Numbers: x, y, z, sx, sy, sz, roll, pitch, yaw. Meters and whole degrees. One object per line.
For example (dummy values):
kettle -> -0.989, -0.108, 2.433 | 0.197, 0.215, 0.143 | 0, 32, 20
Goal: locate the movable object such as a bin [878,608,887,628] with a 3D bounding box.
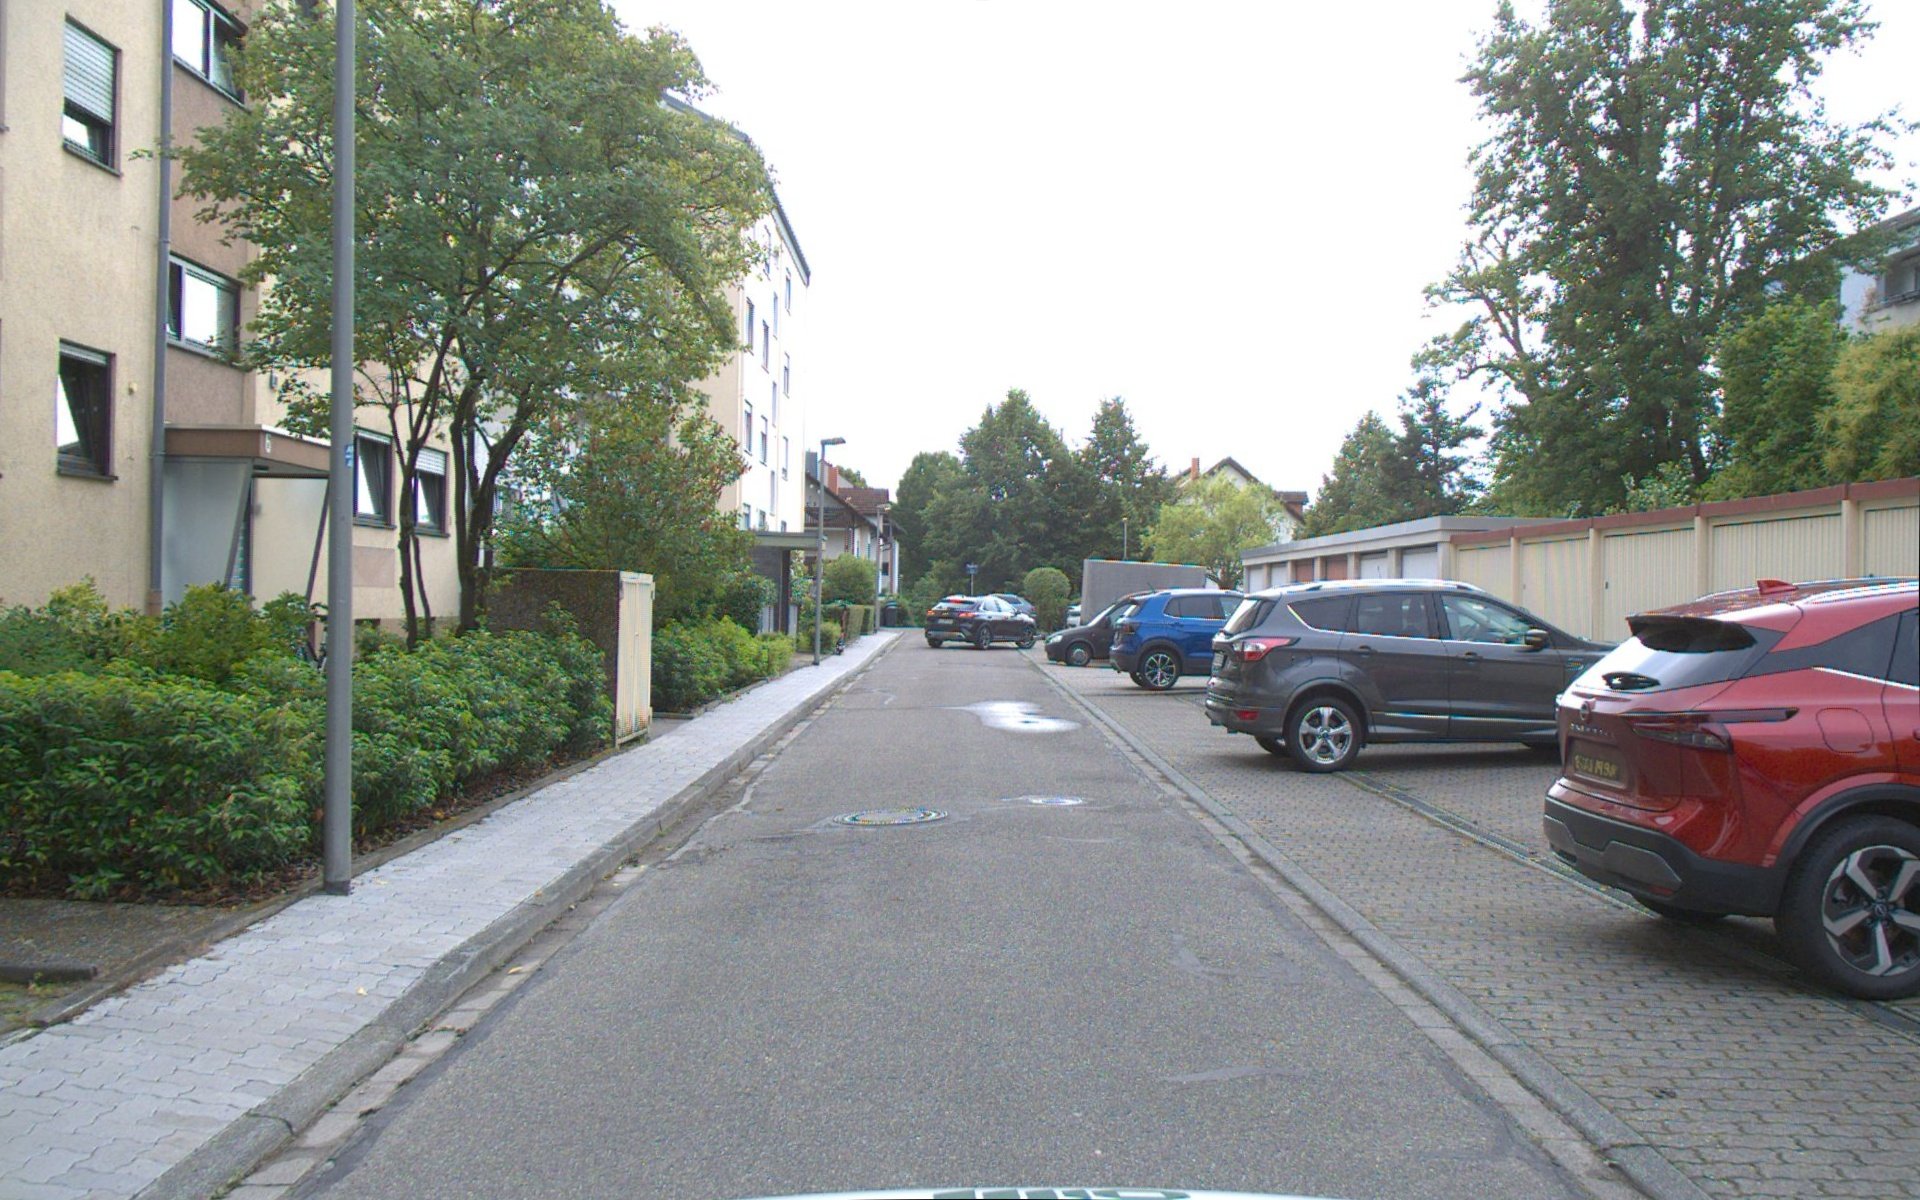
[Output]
movable object such as a bin -> -3.695, 0.855, 79.107 | 0.378, 0.905, 0.379 | 2, 0, -3

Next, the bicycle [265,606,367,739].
bicycle -> -5.771, 0.620, 14.891 | 0.308, 1.070, 1.691 | 0, 2, -2

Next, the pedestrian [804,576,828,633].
pedestrian -> -4.596, 0.136, 52.898 | 0.665, 1.779, 0.756 | 2, 0, -3

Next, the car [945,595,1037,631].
car -> 1.396, 0.604, 75.669 | 4.151, 1.558, 1.747 | 1, -2, -1

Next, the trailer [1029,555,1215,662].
trailer -> 4.064, 0.206, 42.040 | 4.515, 2.569, 1.942 | 1, 0, 0

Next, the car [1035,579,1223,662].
car -> 3.968, 0.465, 39.323 | 4.223, 1.833, 2.000 | -1, 0, -1

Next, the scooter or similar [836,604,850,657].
scooter or similar -> -2.785, 0.710, 39.490 | 0.267, 1.232, 1.164 | 1, 0, -1

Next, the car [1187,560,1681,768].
car -> 4.385, 0.561, 15.790 | 4.110, 1.757, 2.000 | -1, 0, -1

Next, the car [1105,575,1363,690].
car -> 4.467, 0.507, 27.431 | 3.906, 1.733, 2.000 | -1, 0, -1

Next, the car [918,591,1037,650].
car -> 0.547, 0.573, 47.899 | 1.954, 1.579, 3.997 | -1, 0, 25

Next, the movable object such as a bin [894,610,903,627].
movable object such as a bin -> -2.955, 0.874, 79.458 | 0.450, 0.811, 0.379 | 2, 0, -3

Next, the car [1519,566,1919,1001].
car -> 4.892, 0.640, 7.248 | 4.201, 1.614, 1.935 | -1, 0, -2

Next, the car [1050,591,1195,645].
car -> 5.103, 0.560, 52.483 | 4.443, 1.616, 1.988 | 1, 0, 1
